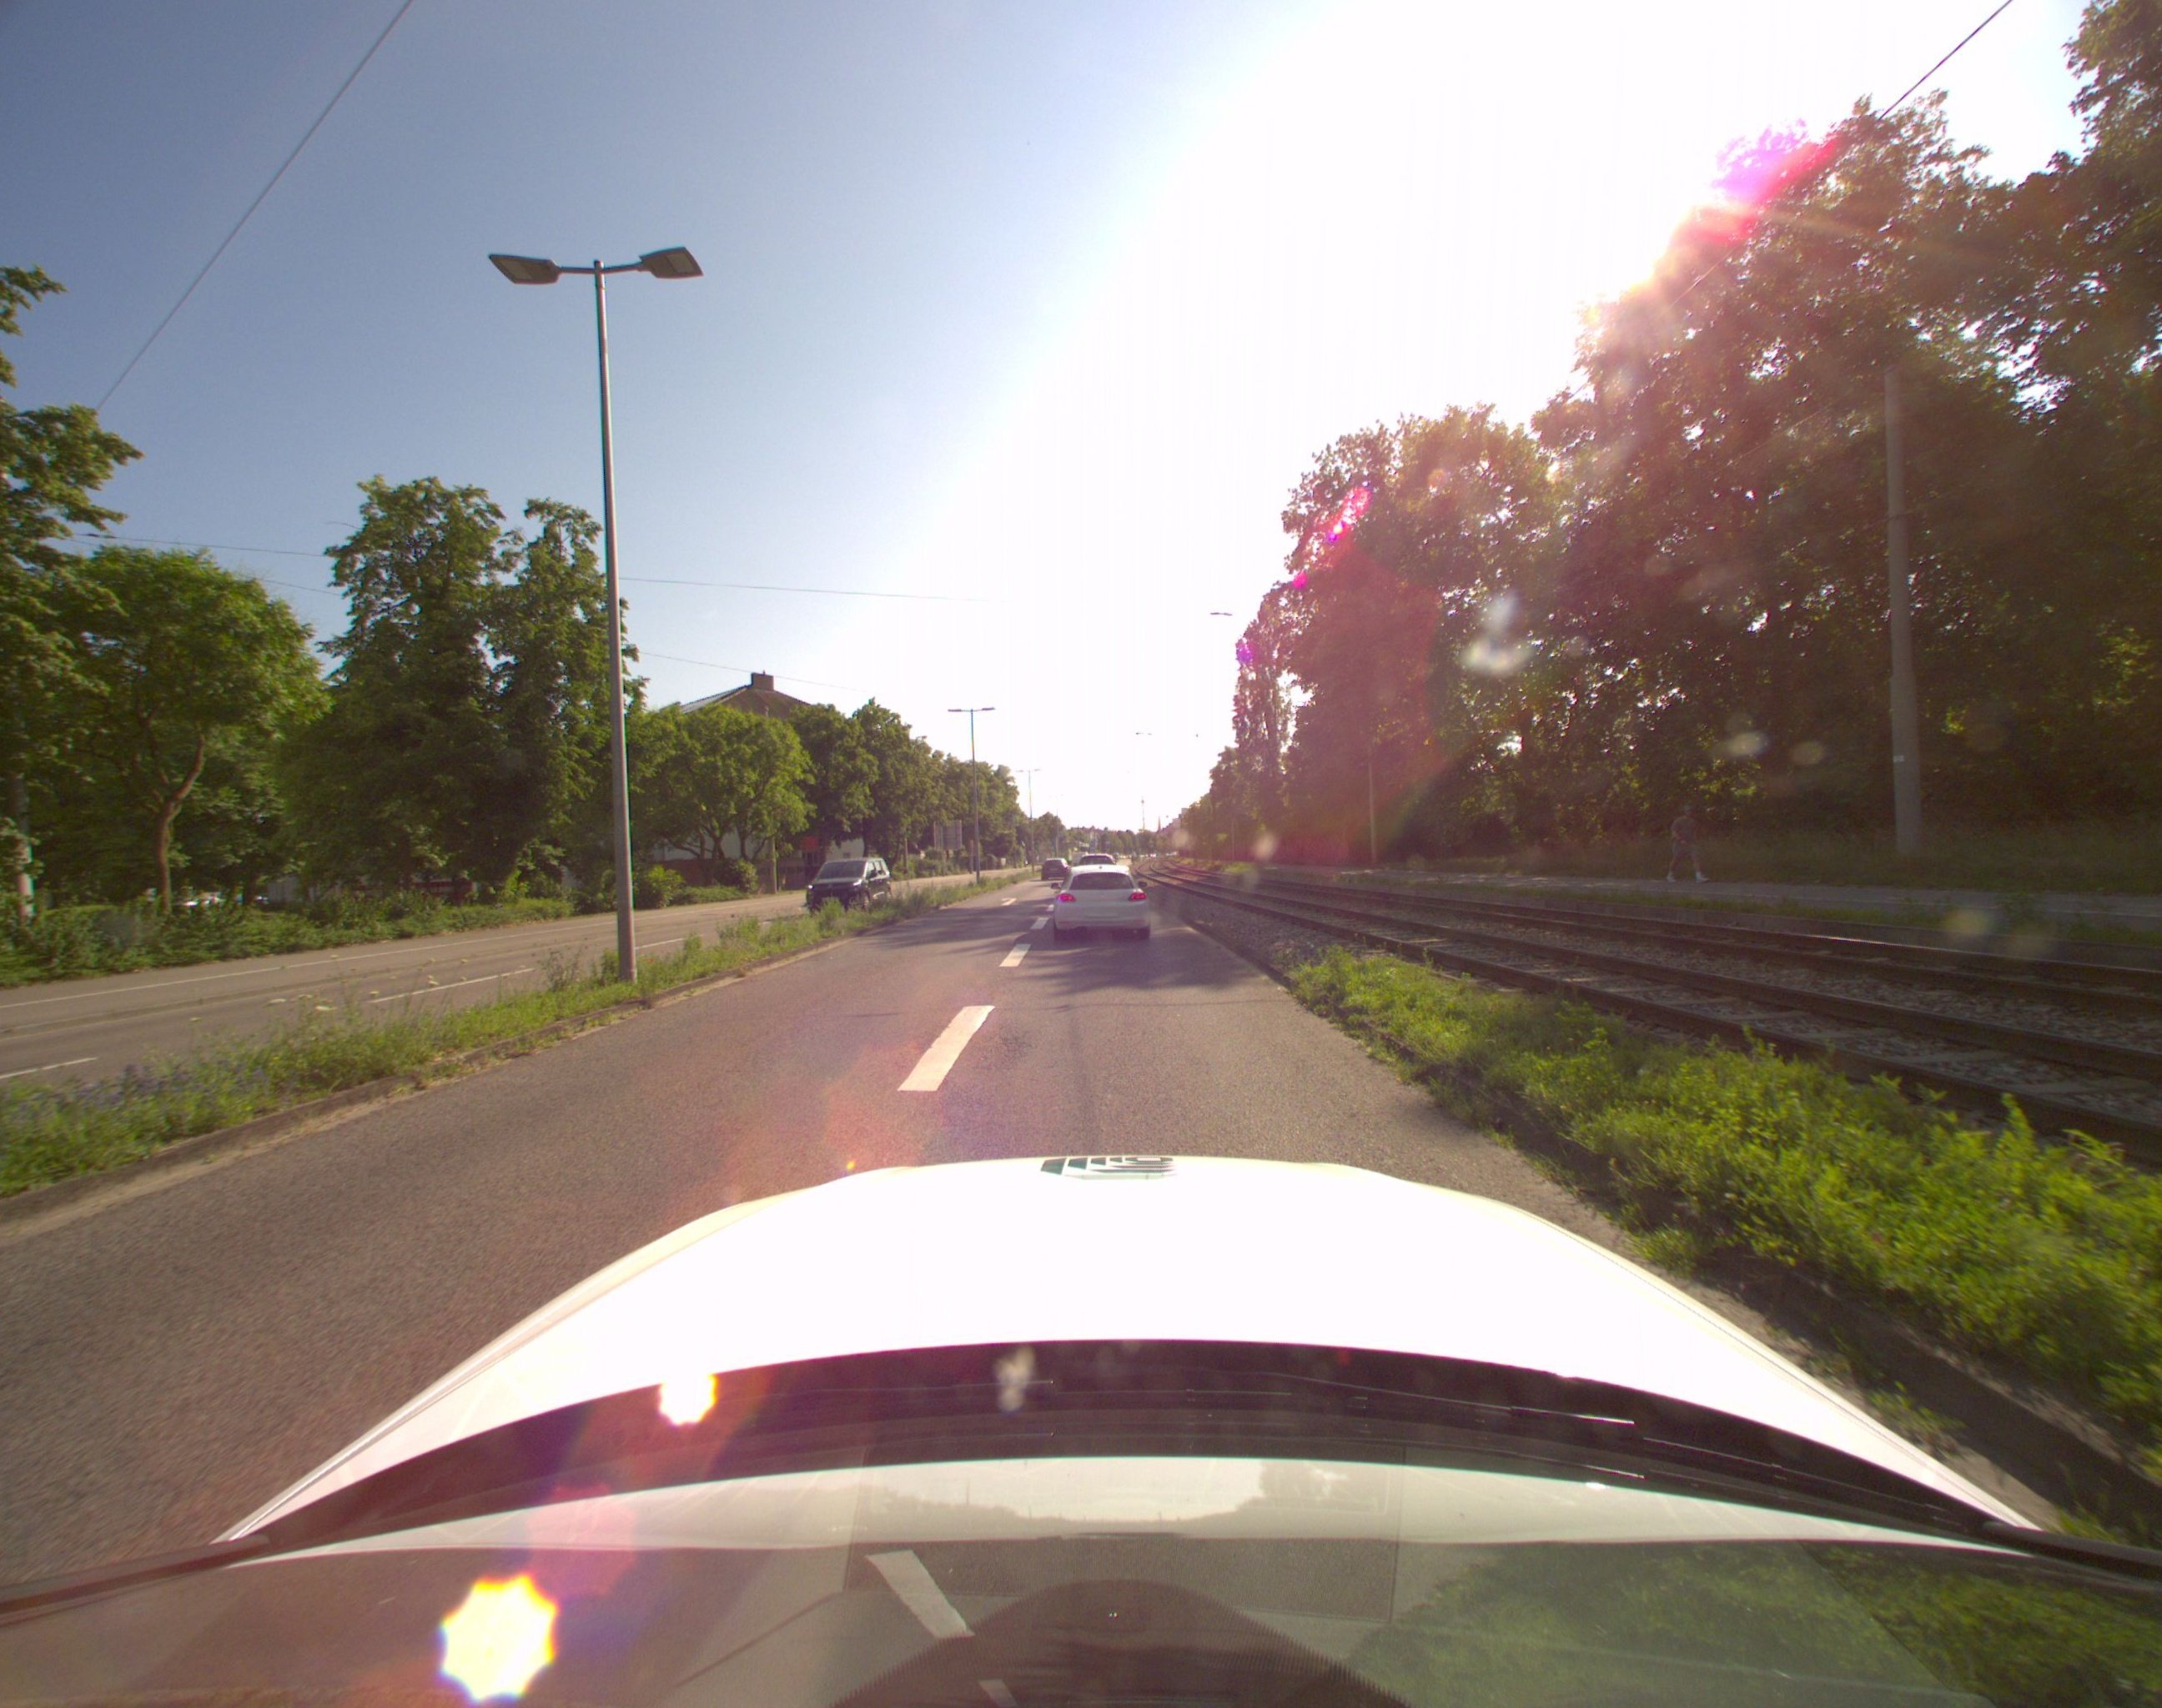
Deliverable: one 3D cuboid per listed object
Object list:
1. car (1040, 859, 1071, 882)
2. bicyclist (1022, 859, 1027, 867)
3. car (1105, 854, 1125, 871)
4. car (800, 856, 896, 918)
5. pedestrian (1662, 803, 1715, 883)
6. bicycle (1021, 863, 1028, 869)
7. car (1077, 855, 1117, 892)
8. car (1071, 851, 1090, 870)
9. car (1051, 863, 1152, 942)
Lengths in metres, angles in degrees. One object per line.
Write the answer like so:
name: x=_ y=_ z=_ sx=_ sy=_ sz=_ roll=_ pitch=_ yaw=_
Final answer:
car: x=-1.701 y=1.079 z=55.757 sx=1.753 sy=1.486 sz=4.647 roll=-1 pitch=0 yaw=2
bicyclist: x=-10.732 y=1.766 z=154.899 sx=0.658 sy=1.452 sz=1.053 roll=-3 pitch=-1 yaw=9
car: x=2.990 y=0.758 z=72.349 sx=1.742 sy=1.486 sz=3.602 roll=-1 pitch=0 yaw=2
car: x=-7.545 y=1.017 z=26.834 sx=1.784 sy=1.784 sz=4.480 roll=-3 pitch=0 yaw=0
pedestrian: x=13.506 y=-0.247 z=18.129 sx=0.498 sy=1.716 sz=0.887 roll=-3 pitch=0 yaw=6
bicycle: x=-10.703 y=2.301 z=154.922 sx=0.658 sy=1.049 sz=2.587 roll=-3 pitch=-1 yaw=9
car: x=0.737 y=0.855 z=37.023 sx=1.718 sy=1.593 sz=3.602 roll=-1 pitch=0 yaw=2
car: x=-0.038 y=0.723 z=91.154 sx=1.810 sy=1.963 sz=4.407 roll=-3 pitch=-1 yaw=4
car: x=0.419 y=0.882 z=16.277 sx=1.774 sy=1.356 sz=3.602 roll=-1 pitch=0 yaw=2
